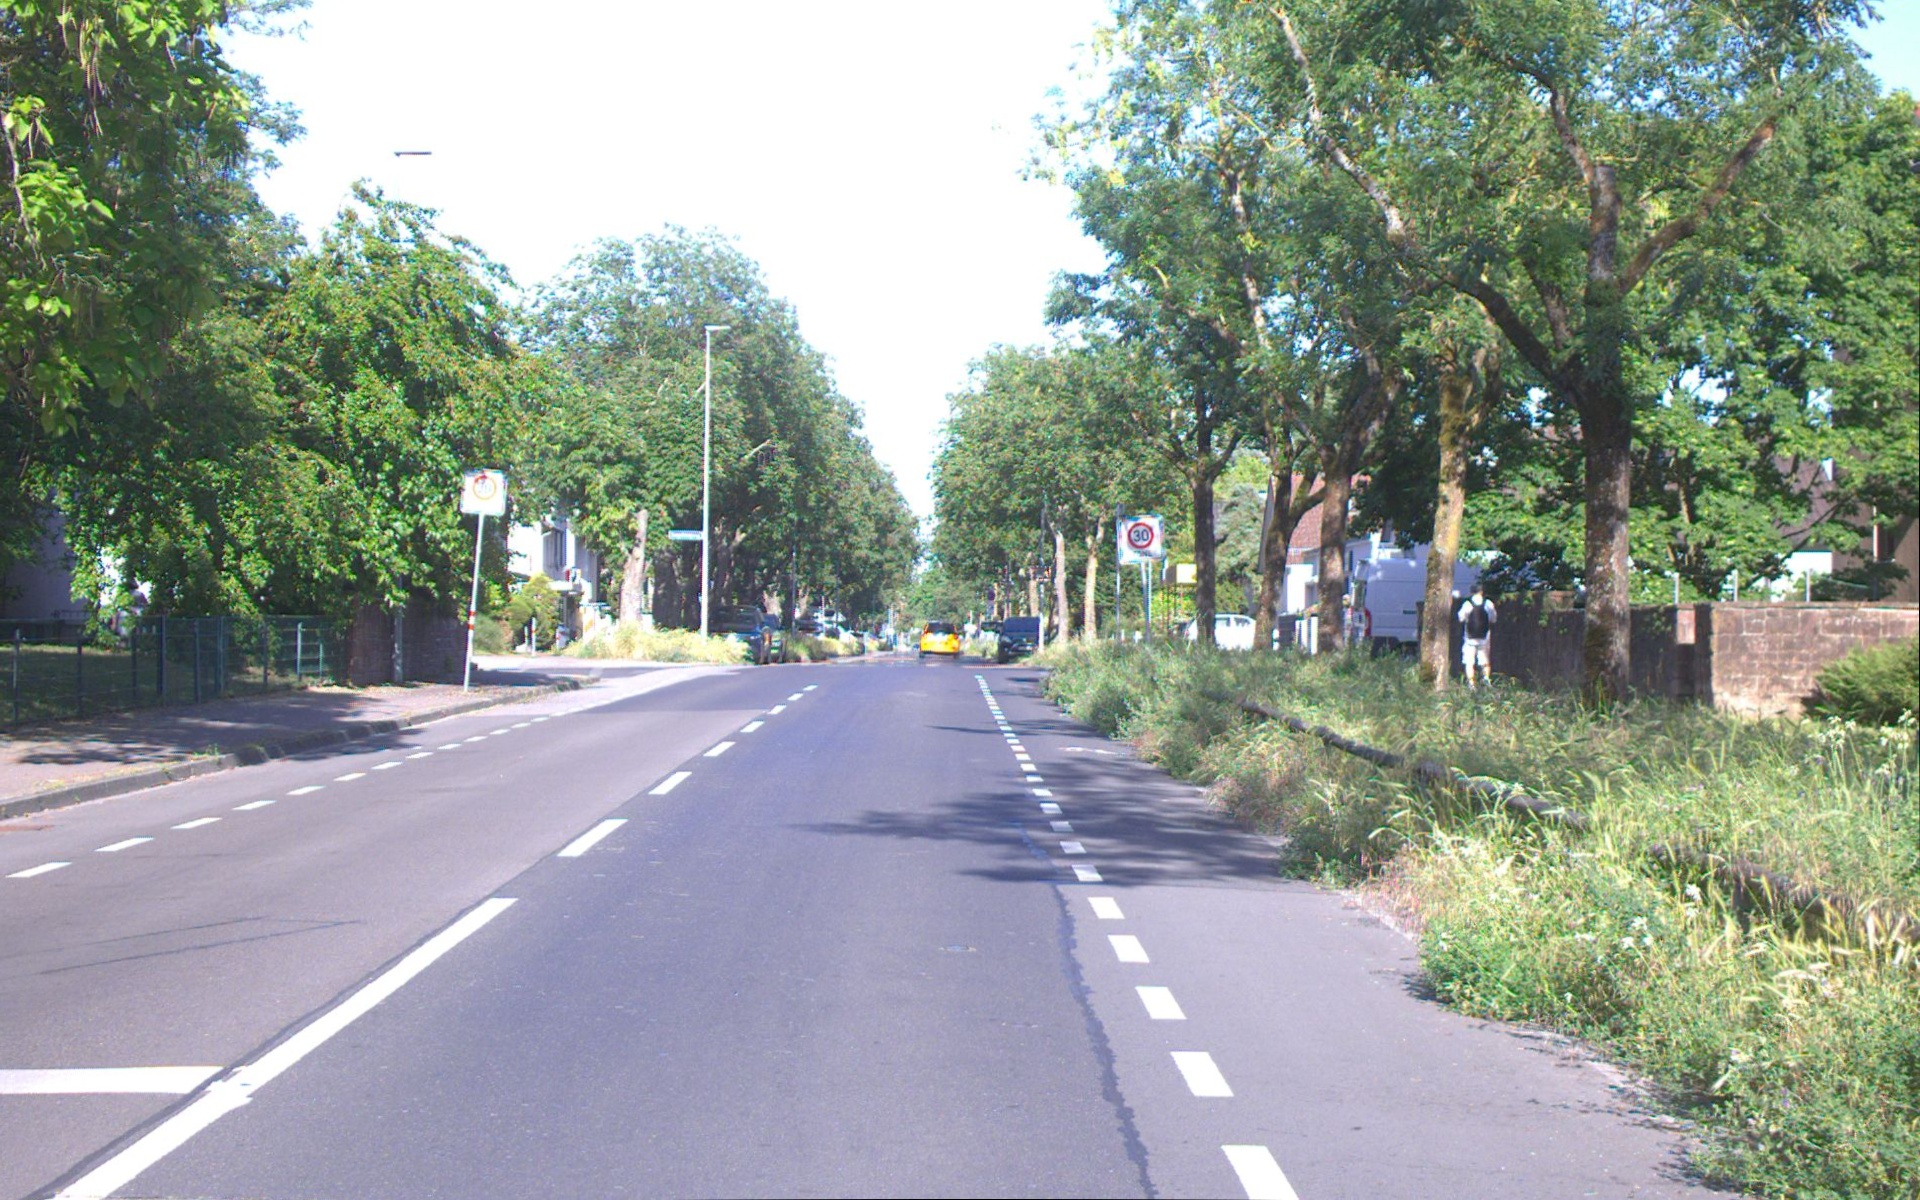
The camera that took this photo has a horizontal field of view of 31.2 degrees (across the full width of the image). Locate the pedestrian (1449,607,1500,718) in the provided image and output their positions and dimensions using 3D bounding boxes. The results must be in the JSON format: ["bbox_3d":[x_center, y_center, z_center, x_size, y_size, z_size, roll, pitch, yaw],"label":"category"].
[{"bbox_3d":[8.029,0.975,53.696,0.637,1.700,0.612,-2,0,-1],"label":"pedestrian"}]

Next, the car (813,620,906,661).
[{"bbox_3d":[-6.056,2.441,206.794,5.498,2.240,2.517,2,0,-2],"label":"car"}]

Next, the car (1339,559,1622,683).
[{"bbox_3d":[11.055,0.453,73.330,5.594,2.530,2.266,1,-1,-3],"label":"car"}]

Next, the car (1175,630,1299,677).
[{"bbox_3d":[9.345,1.810,116.254,3.987,1.484,1.902,-1,0,-1],"label":"car"}]

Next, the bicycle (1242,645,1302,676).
[{"bbox_3d":[10.361,2.015,114.070,1.923,0.995,0.576,-1,0,-1],"label":"bicycle"}]

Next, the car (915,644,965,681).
[{"bbox_3d":[-0.852,2.657,146.658,1.888,1.474,3.888,3,-1,-3],"label":"car"}]

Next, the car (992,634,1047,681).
[{"bbox_3d":[2.150,2.081,124.568,1.853,1.620,4.469,-1,-2,-1],"label":"car"}]

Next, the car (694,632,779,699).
[{"bbox_3d":[-6.251,1.866,96.657,1.953,1.721,4.874,2,-2,1],"label":"car"}]
